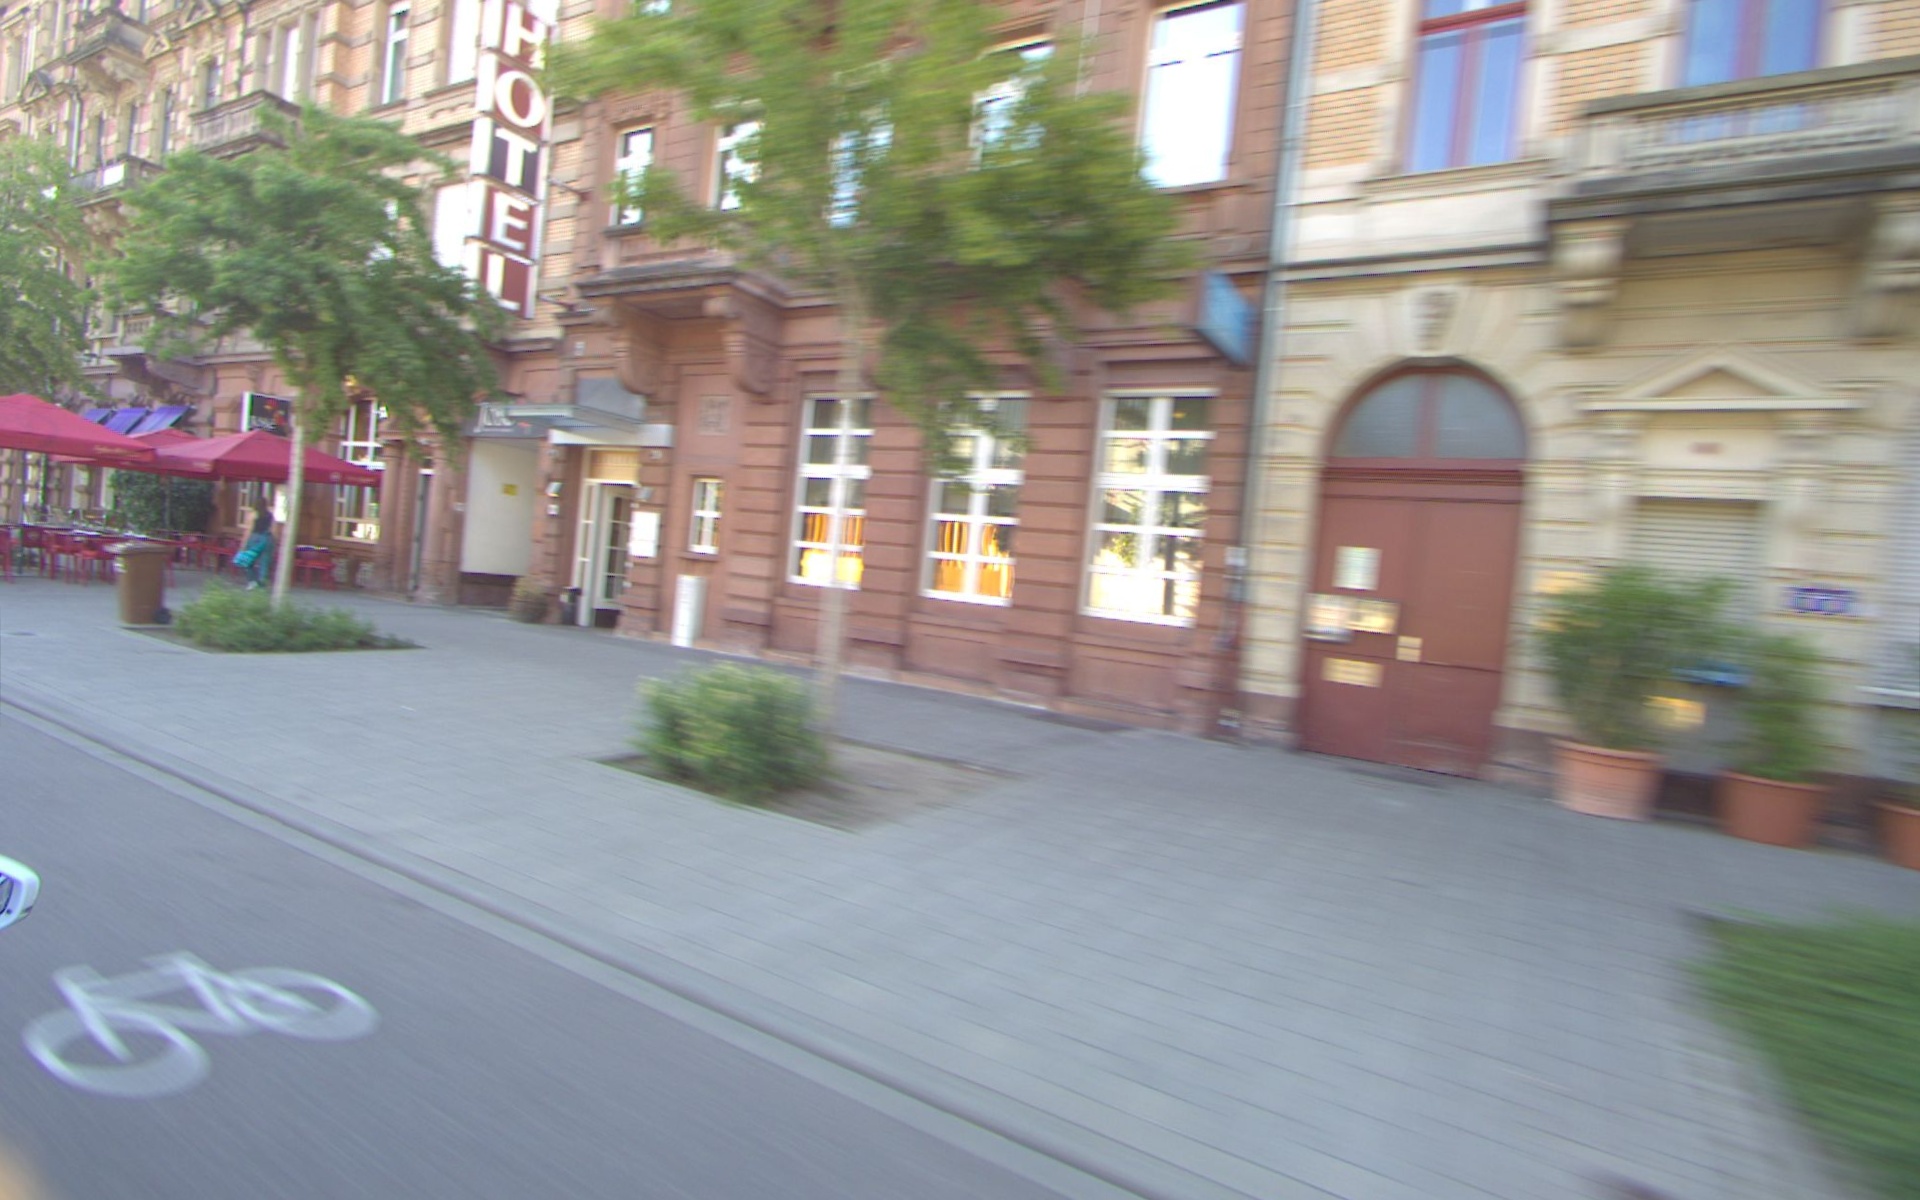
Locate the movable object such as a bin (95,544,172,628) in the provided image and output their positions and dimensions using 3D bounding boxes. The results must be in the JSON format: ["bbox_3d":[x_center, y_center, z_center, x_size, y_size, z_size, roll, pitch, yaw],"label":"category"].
[{"bbox_3d":[-9.629,-0.162,11.743,0.671,0.937,0.554,1,4,-38],"label":"movable object such as a bin"}]

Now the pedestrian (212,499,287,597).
[{"bbox_3d":[-11.973,-0.873,16.957,0.783,1.555,0.728,7,3,31],"label":"pedestrian"}]
